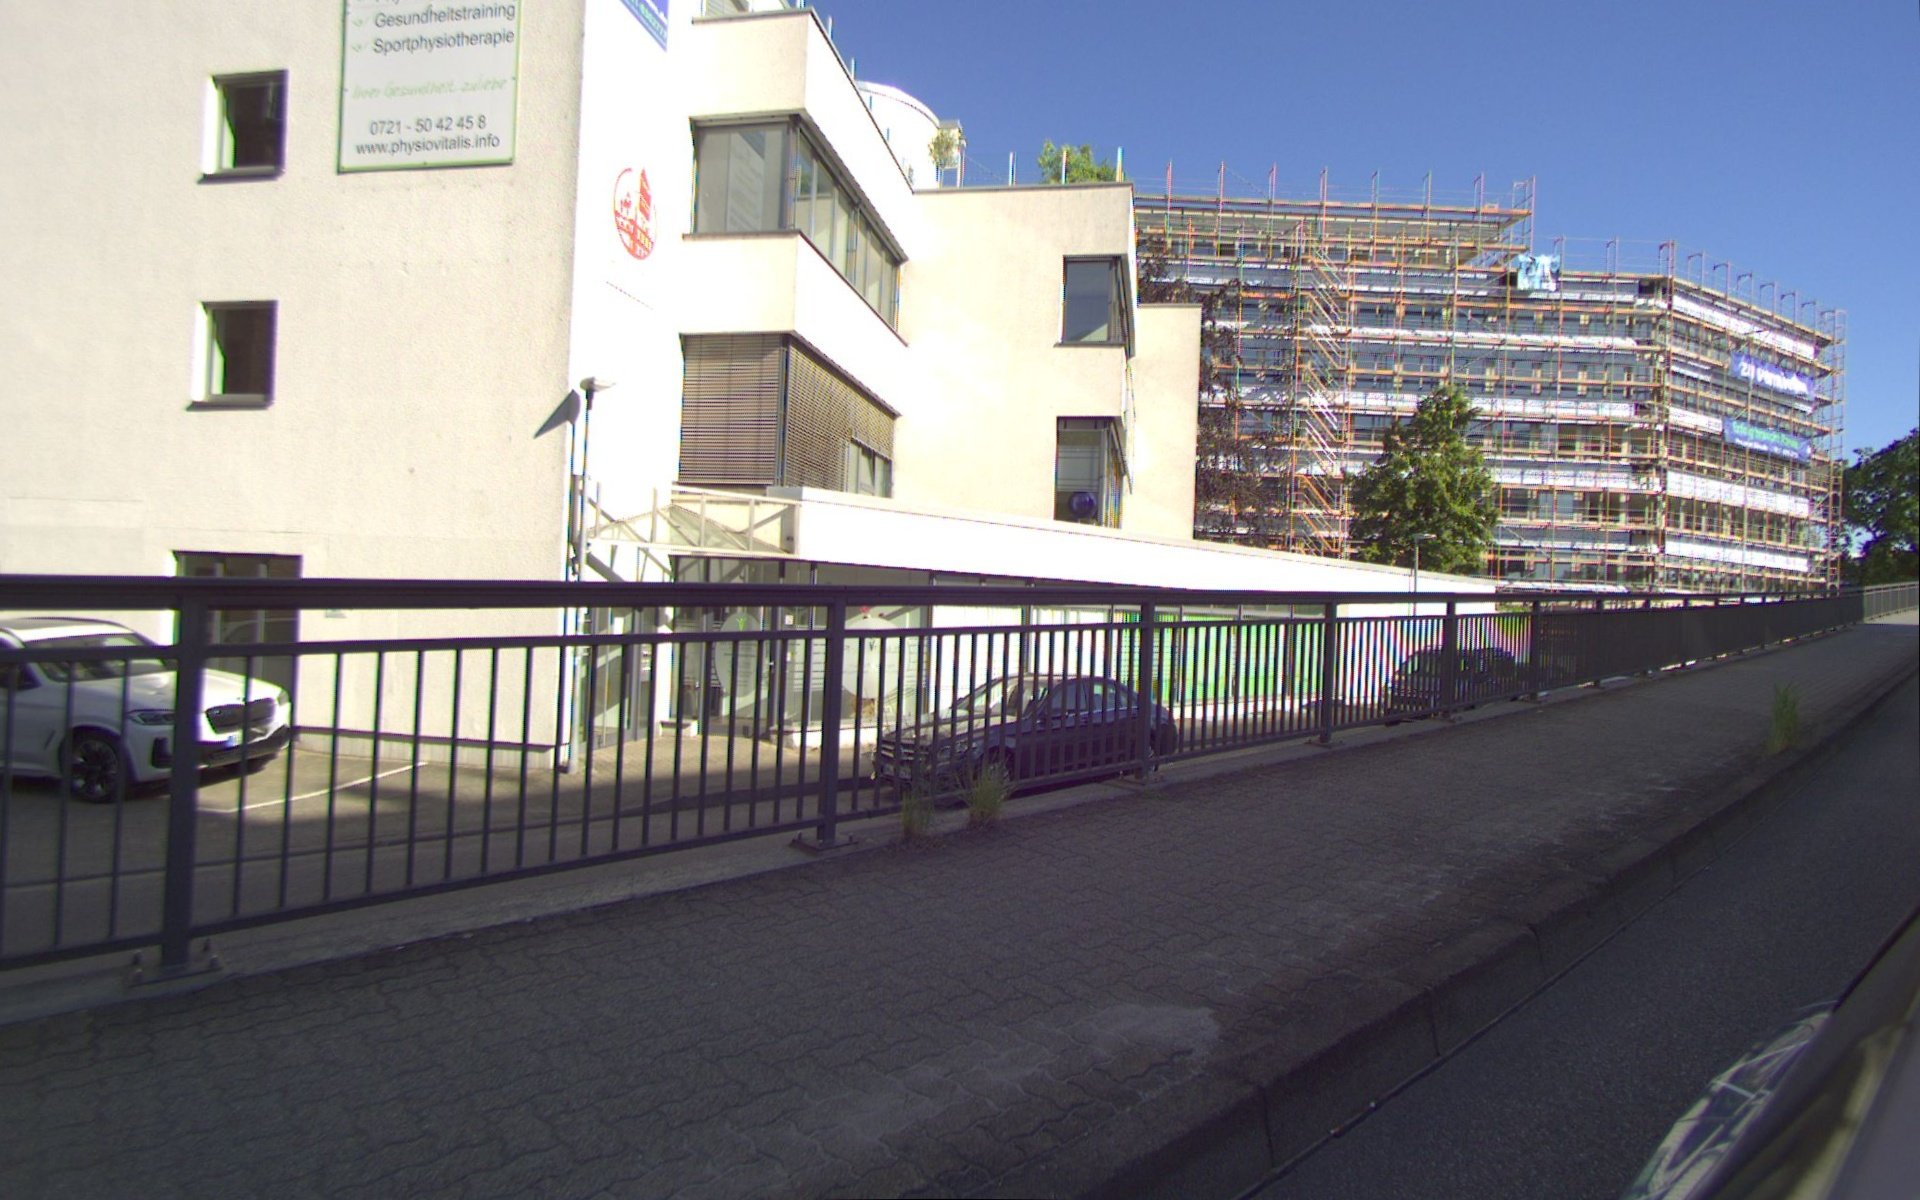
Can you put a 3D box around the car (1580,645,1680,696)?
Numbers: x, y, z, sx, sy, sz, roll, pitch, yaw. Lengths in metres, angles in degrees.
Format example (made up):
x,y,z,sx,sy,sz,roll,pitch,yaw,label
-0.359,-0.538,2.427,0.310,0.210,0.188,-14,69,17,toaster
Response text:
x,y,z,sx,sy,sz,roll,pitch,yaw,label
21.094,2.170,31.799,3.931,1.410,1.723,1,-1,-42,car

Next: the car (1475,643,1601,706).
x,y,z,sx,sy,sz,roll,pitch,yaw,label
14.988,1.865,26.158,3.931,1.410,1.723,1,-1,-42,car

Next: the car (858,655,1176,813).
x,y,z,sx,sy,sz,roll,pitch,yaw,label
0.817,1.545,12.808,3.929,1.541,1.724,1,-1,-41,car

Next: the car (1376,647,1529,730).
x,y,z,sx,sy,sz,roll,pitch,yaw,label
10.866,1.859,22.228,3.931,1.541,1.723,1,-1,-42,car

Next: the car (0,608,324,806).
x,y,z,sx,sy,sz,roll,pitch,yaw,label
-9.528,1.021,10.840,4.455,1.707,1.840,2,0,9,car
